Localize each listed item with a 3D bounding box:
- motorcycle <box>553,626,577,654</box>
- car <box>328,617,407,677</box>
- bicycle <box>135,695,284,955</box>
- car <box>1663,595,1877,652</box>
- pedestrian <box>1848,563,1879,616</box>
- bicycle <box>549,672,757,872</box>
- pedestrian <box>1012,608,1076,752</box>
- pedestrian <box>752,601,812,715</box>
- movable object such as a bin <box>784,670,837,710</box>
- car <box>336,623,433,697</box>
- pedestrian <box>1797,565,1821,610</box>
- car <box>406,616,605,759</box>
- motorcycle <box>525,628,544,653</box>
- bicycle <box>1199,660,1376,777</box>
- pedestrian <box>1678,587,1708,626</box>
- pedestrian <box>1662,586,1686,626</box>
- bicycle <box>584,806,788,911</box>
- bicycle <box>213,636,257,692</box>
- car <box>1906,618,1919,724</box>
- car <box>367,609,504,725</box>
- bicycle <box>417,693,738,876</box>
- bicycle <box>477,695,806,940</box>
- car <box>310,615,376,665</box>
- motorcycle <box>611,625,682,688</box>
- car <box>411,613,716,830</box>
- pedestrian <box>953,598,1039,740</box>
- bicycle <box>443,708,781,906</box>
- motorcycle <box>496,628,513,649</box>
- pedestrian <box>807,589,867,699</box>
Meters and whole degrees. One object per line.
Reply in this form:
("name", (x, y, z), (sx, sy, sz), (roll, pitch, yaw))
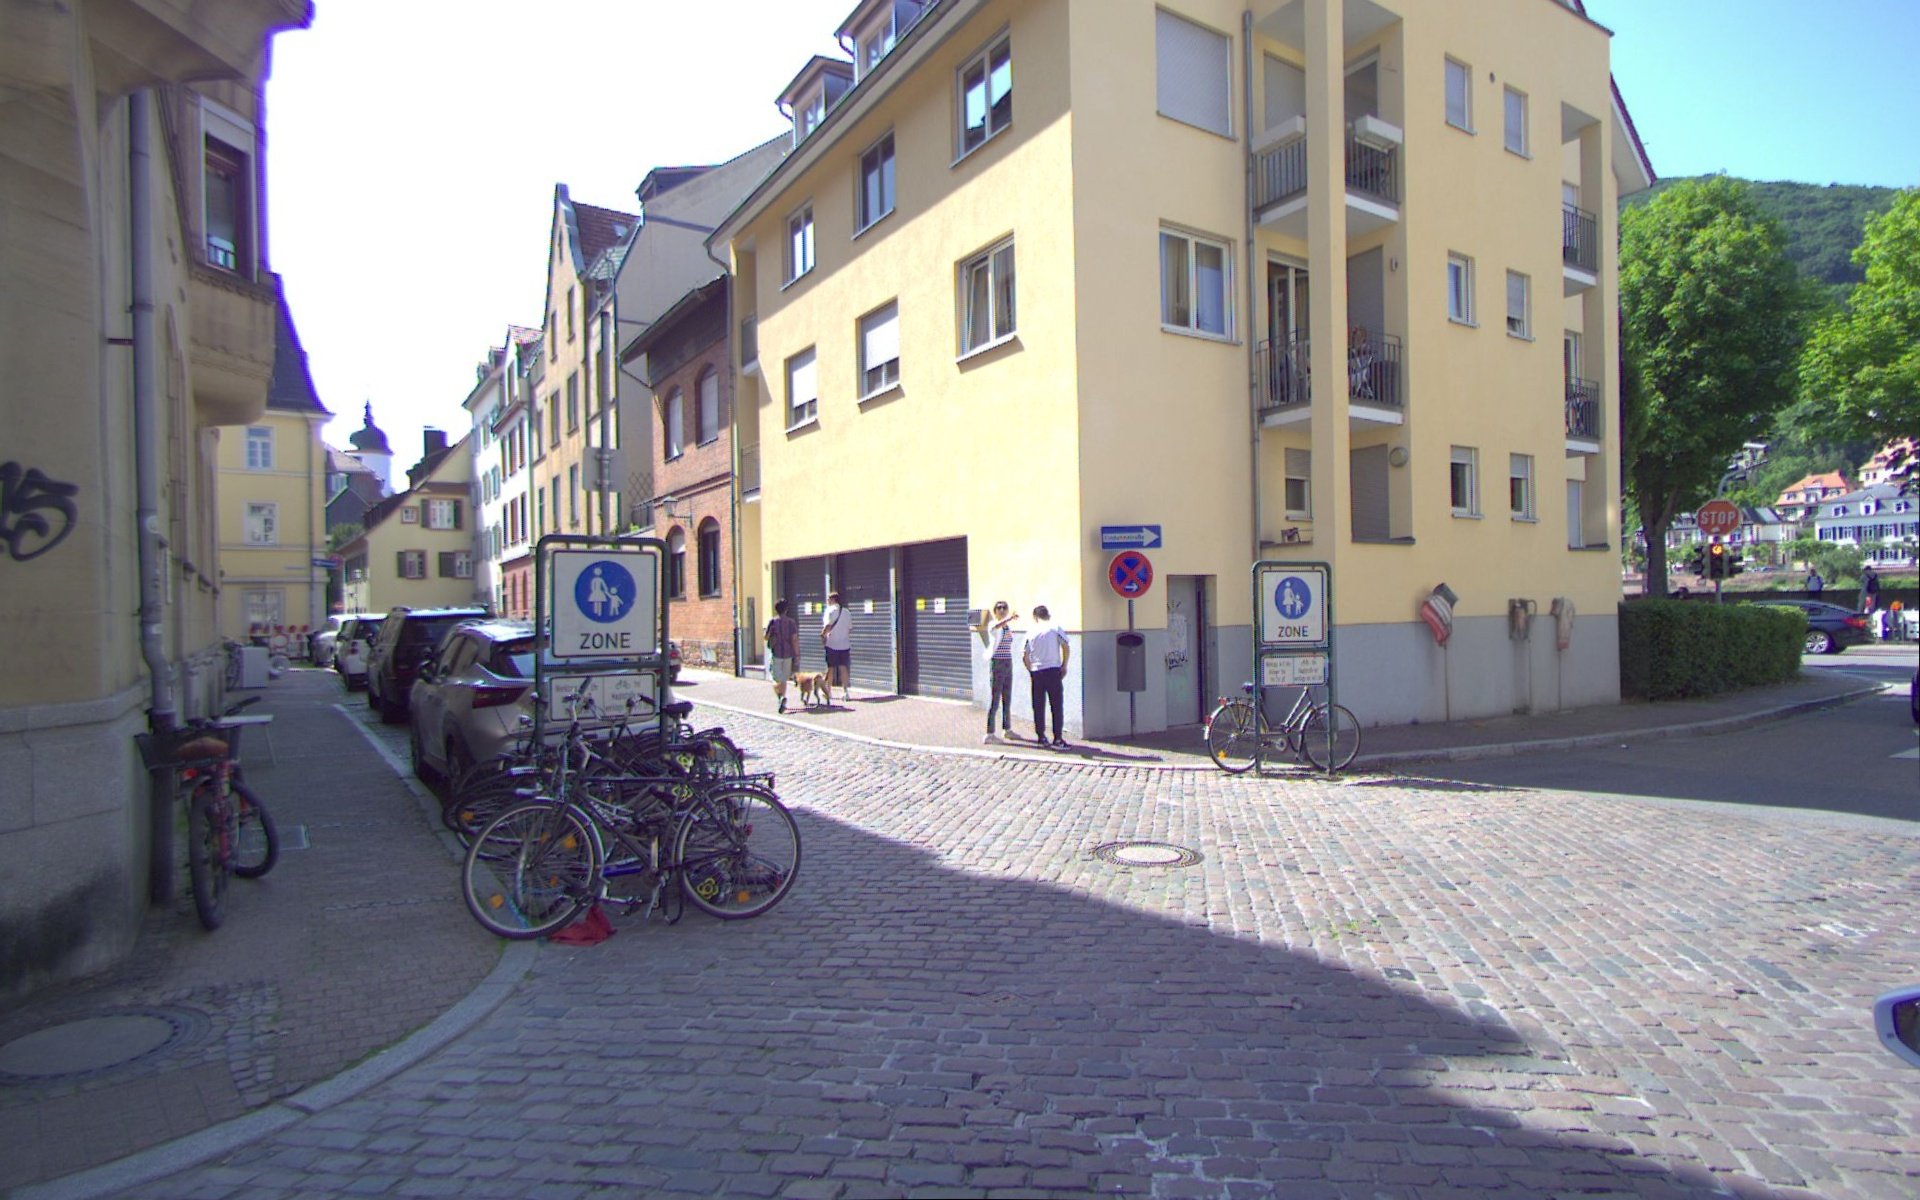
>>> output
("motorcycle", (-14.269, 1.428, 36.278), (0.383, 0.958, 1.338), (3, -2, -39))
("car", (-16.349, 1.224, 27.654), (1.645, 1.462, 4.032), (1, 0, -34))
("bicycle", (-3.987, 1.105, 5.410), (0.491, 1.100, 1.627), (5, -4, -34))
("car", (24.361, 0.762, 30.387), (1.888, 1.537, 4.730), (1, -3, -37))
("pedestrian", (32.844, -0.375, 36.526), (0.752, 1.882, 0.754), (0, 0, 36))
("bicycle", (-2.108, 1.147, 7.124), (0.280, 1.100, 1.640), (-3, 1, 27))
("pedestrian", (0.994, 0.921, 11.863), (0.644, 1.639, 0.493), (0, 0, 21))
("pedestrian", (-2.870, 0.919, 16.186), (0.612, 1.768, 0.854), (3, 0, -32))
("movable object such as a bin", (-2.451, 1.456, 16.386), (0.297, 0.571, 1.230), (0, -2, -37))
("car", (-13.075, 1.279, 22.732), (1.645, 1.462, 3.824), (1, 0, -34))
("pedestrian", (33.604, -0.472, 39.741), (0.700, 1.755, 0.752), (0, 0, 43))
("car", (-6.243, 1.026, 13.551), (1.833, 1.565, 3.963), (1, 0, -34))
("motorcycle", (-17.177, 1.620, 40.554), (0.383, 0.958, 1.339), (3, -2, -37))
("bicycle", (3.434, 1.208, 10.496), (1.879, 1.093, 0.390), (-1, -1, -18))
("pedestrian", (28.177, 0.243, 38.617), (1.370, 1.499, 0.464), (-1, 0, -33))
("pedestrian", (27.677, 0.233, 38.935), (0.796, 1.513, 0.464), (-1, 0, -33))
("bicycle", (-1.701, 1.540, 6.136), (1.107, 0.291, 1.073), (-1, -1, -21))
("bicycle", (-15.513, 1.341, 21.510), (0.477, 1.113, 1.595), (0, 0, -25))
("car", (15.801, 0.946, 14.970), (4.681, 1.481, 1.702), (0, -3, -37))
("car", (-8.752, 0.994, 16.608), (1.553, 1.657, 3.823), (1, 0, -35))
("bicycle", (-2.325, 1.105, 6.219), (1.632, 1.086, 0.286), (0, 42, -46))
("bicycle", (-1.643, 1.102, 5.323), (1.618, 1.100, 0.284), (-1, 3, -21))
("car", (-19.913, 1.244, 32.353), (1.645, 1.462, 3.824), (1, 0, -34))
("motorcycle", (-6.935, 1.218, 22.143), (0.592, 1.265, 2.454), (3, -2, -39))
("car", (-3.909, 0.937, 9.491), (1.834, 1.564, 3.890), (-1, -1, -35))
("pedestrian", (0.440, 0.809, 12.239), (0.685, 1.640, 0.748), (-3, 2, -39))
("bicycle", (-1.988, 1.166, 5.861), (1.632, 1.086, 0.286), (0, 42, -46))
("motorcycle", (-21.400, 1.818, 47.186), (0.382, 0.958, 1.555), (3, -2, -36))
("pedestrian", (-2.059, 0.718, 16.731), (0.612, 1.768, 0.854), (3, 0, -32))
